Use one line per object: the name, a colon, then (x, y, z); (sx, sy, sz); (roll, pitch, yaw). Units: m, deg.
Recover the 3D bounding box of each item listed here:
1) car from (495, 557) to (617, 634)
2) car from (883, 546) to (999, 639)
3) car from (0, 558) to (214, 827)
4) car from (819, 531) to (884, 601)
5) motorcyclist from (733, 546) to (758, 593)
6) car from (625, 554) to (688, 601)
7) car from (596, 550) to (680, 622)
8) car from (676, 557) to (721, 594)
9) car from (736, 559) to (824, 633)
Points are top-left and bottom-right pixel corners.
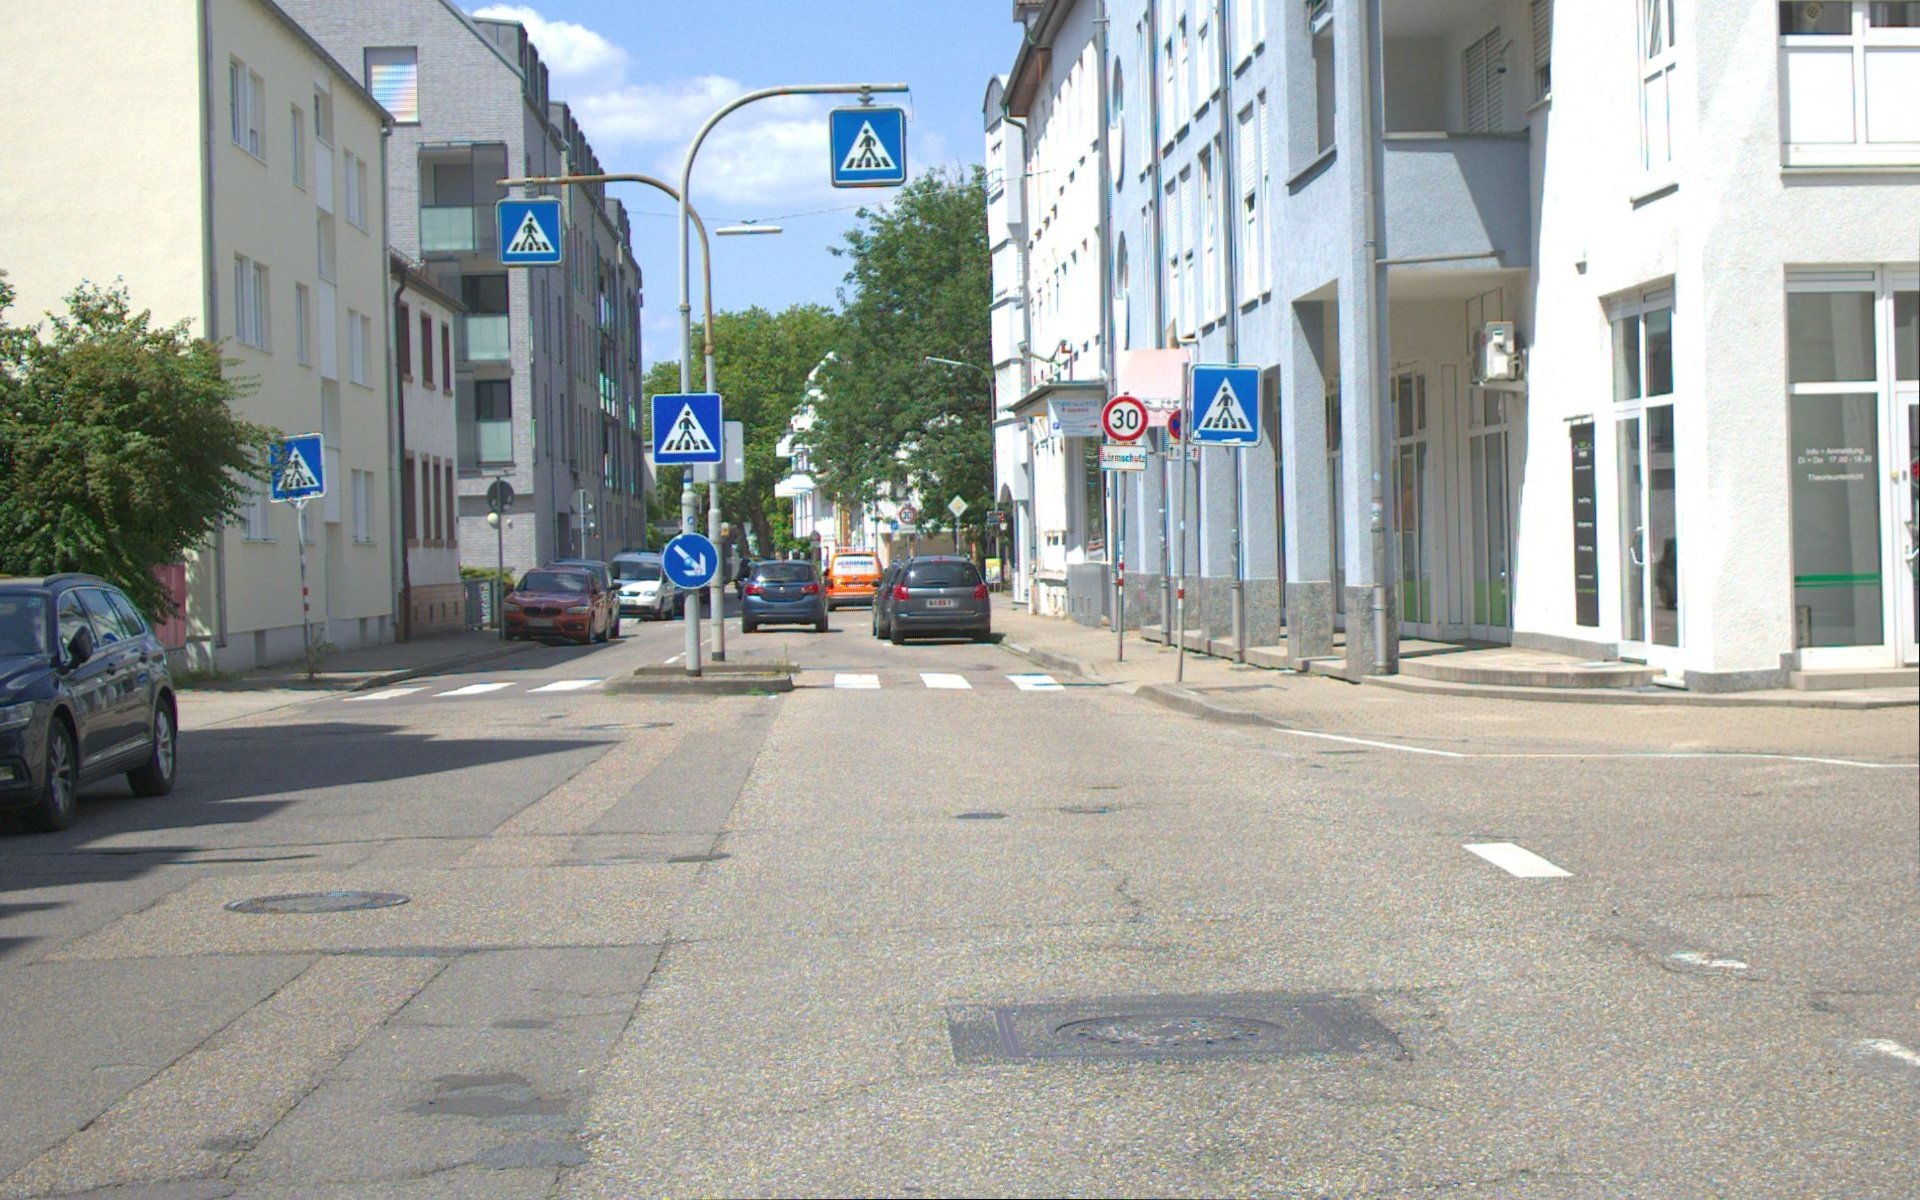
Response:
car: (-7.775, -0.113, 66.512); (1.834, 1.412, 4.290); (-1, 1, 0)
car: (-0.366, -0.147, 59.492); (1.709, 1.503, 4.001); (-1, 1, -4)
car: (-5.954, 0.502, 20.998); (1.783, 1.453, 4.635); (-2, 1, 0)
car: (-3.269, -1.034, 103.368); (1.839, 2.007, 4.001); (-1, 1, -2)
motorcyclist: (-7.609, -1.103, 121.914); (0.713, 1.629, 1.069); (-2, 1, 1)
car: (-9.477, -0.707, 107.589); (1.723, 1.451, 4.005); (0, 1, -1)
car: (-8.799, -0.410, 94.123); (1.757, 1.885, 4.336); (1, 1, 1)
car: (-10.812, -1.022, 142.222); (1.732, 1.437, 4.000); (-2, 1, -3)
car: (-3.668, -0.110, 70.536); (1.715, 1.397, 4.001); (-2, 1, -2)
